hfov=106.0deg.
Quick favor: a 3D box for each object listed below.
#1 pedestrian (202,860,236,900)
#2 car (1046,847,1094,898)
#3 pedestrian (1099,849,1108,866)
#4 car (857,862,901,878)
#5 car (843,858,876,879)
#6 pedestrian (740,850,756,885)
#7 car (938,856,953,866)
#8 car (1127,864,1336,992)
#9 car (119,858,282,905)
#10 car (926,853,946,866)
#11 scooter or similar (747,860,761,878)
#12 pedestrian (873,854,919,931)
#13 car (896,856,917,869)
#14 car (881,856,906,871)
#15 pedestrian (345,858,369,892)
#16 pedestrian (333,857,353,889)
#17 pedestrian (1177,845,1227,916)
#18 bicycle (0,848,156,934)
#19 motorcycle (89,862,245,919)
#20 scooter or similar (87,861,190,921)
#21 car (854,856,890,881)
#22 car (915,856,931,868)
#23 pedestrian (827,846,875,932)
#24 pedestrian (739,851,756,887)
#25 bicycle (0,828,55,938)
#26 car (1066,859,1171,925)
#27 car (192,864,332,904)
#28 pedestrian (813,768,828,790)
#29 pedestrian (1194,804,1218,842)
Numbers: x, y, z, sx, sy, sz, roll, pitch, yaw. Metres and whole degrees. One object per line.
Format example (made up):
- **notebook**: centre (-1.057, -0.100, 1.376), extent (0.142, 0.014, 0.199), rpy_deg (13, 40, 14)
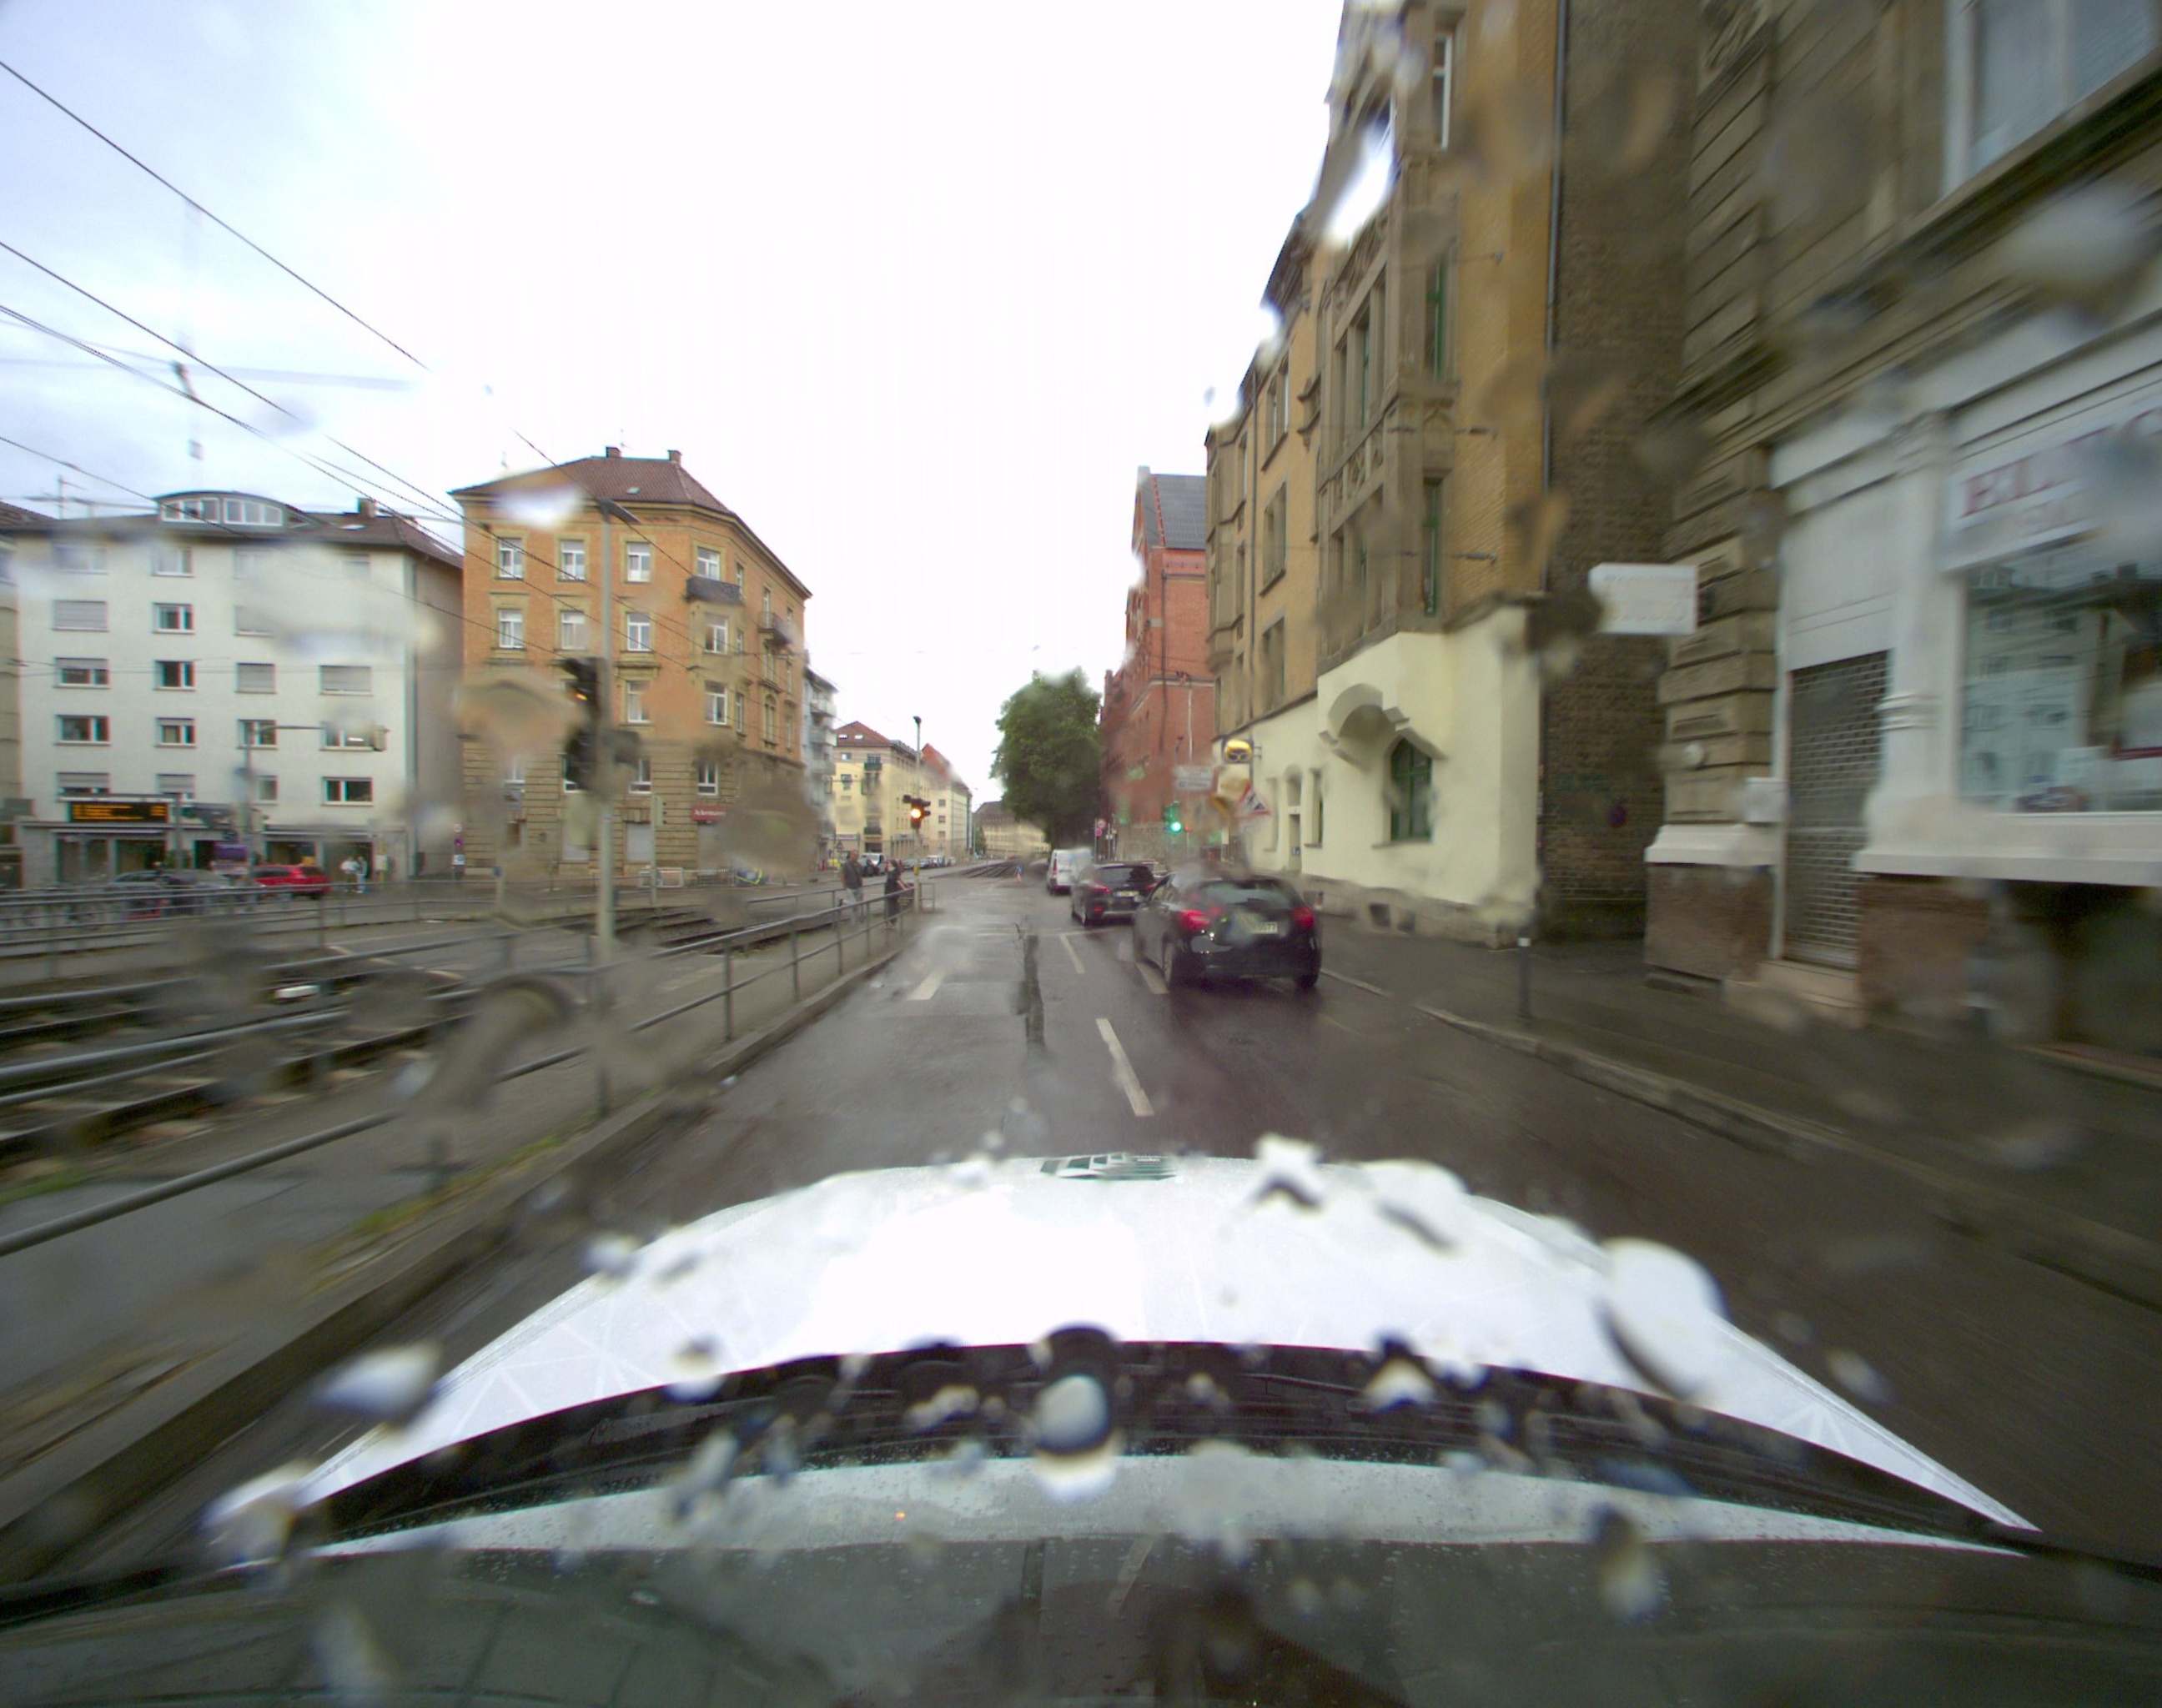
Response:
- **pedestrian**: centre (-43.058, 1.288, 40.687), extent (0.860, 2.014, 0.768), rpy_deg (0, -1, 1)
- **car**: centre (-0.536, 0.754, 34.431), extent (1.738, 2.014, 3.896), rpy_deg (0, -1, -5)
- **pedestrian**: centre (2.206, 0.378, 79.717), extent (0.821, 1.678, 0.859), rpy_deg (0, -1, -1)
- **car**: centre (-19.042, 1.486, 76.877), extent (1.763, 1.434, 4.007), rpy_deg (0, -1, 30)
- **car**: centre (-17.951, 1.151, 66.031), extent (1.729, 1.651, 4.357), rpy_deg (0, 0, -4)
- **pedestrian**: centre (-17.291, 0.679, 42.309), extent (0.630, 1.766, 0.633), rpy_deg (-3, 4, -33)
- **car**: centre (-21.994, 1.145, 132.415), extent (1.809, 1.499, 4.576), rpy_deg (1, 0, -4)
- **car**: centre (1.766, 0.834, 10.860), extent (1.791, 1.375, 3.994), rpy_deg (1, -1, -4)
- **car**: centre (-33.644, 1.024, 31.215), extent (3.980, 1.665, 1.839), rpy_deg (-1, 0, -5)
- **car**: centre (-21.791, 0.870, 122.796), extent (1.987, 1.905, 5.459), rpy_deg (1, 0, 0)
- **scooter or similar**: centre (-17.600, 0.812, 43.837), extent (0.557, 0.945, 0.572), rpy_deg (0, 0, -34)
- **pedestrian**: centre (-3.983, 0.808, 17.631), extent (0.833, 1.604, 0.999), rpy_deg (0, -1, -5)
- **car**: centre (-19.681, 0.981, 92.115), extent (1.677, 1.396, 4.614), rpy_deg (0, 0, -5)
- **car**: centre (-19.032, 0.994, 82.646), extent (1.649, 1.451, 4.071), rpy_deg (0, -1, -1)
- **pedestrian**: centre (-35.595, 1.044, 40.049), extent (0.597, 1.668, 0.597), rpy_deg (0, -1, 6)
- **pedestrian**: centre (-36.476, 0.943, 40.263), extent (0.528, 1.537, 0.498), rpy_deg (0, 0, 0)
- **pedestrian**: centre (3.051, 0.656, 20.633), extent (1.014, 1.720, 0.929), rpy_deg (-3, -1, -2)
- **bicycle**: centre (-20.822, 0.775, 16.949), extent (2.090, 1.698, 0.555), rpy_deg (2, -3, -10)
- **motorcycle**: centre (-23.184, 0.913, 20.718), extent (2.650, 1.371, 0.863), rpy_deg (-1, -1, -10)
- **scooter or similar**: centre (-21.965, 0.852, 19.007), extent (1.507, 1.371, 0.450), rpy_deg (0, -1, -21)
- **car**: centre (-18.453, 1.222, 72.165), extent (2.066, 2.009, 5.295), rpy_deg (3, 0, -4)
- **car**: centre (-20.412, 1.026, 105.326), extent (1.850, 1.508, 4.976), rpy_deg (0, -1, -9)
- **pedestrian**: centre (-4.985, 0.737, 17.692), extent (0.824, 1.799, 0.999), rpy_deg (0, -1, -5)
- **pedestrian**: centre (-17.286, 0.797, 42.199), extent (0.630, 1.840, 0.633), rpy_deg (-1, -1, -36)
- **bicycle**: centre (-20.442, 0.519, 15.069), extent (1.890, 2.014, 0.517), rpy_deg (1, -1, -10)
- **car**: centre (0.805, 0.867, 20.283), extent (1.931, 1.453, 4.307), rpy_deg (1, -1, -7)
- **car**: centre (-34.394, 1.239, 34.290), extent (3.980, 1.582, 1.634), rpy_deg (1, -1, -5)
- **pedestrian**: centre (-23.842, -6.862, 74.636), extent (1.172, 1.929, 1.173), rpy_deg (0, 0, -11)
- **pedestrian**: centre (6.433, -1.596, 42.070), extent (0.956, 1.887, 1.072), rpy_deg (-2, 0, -4)
